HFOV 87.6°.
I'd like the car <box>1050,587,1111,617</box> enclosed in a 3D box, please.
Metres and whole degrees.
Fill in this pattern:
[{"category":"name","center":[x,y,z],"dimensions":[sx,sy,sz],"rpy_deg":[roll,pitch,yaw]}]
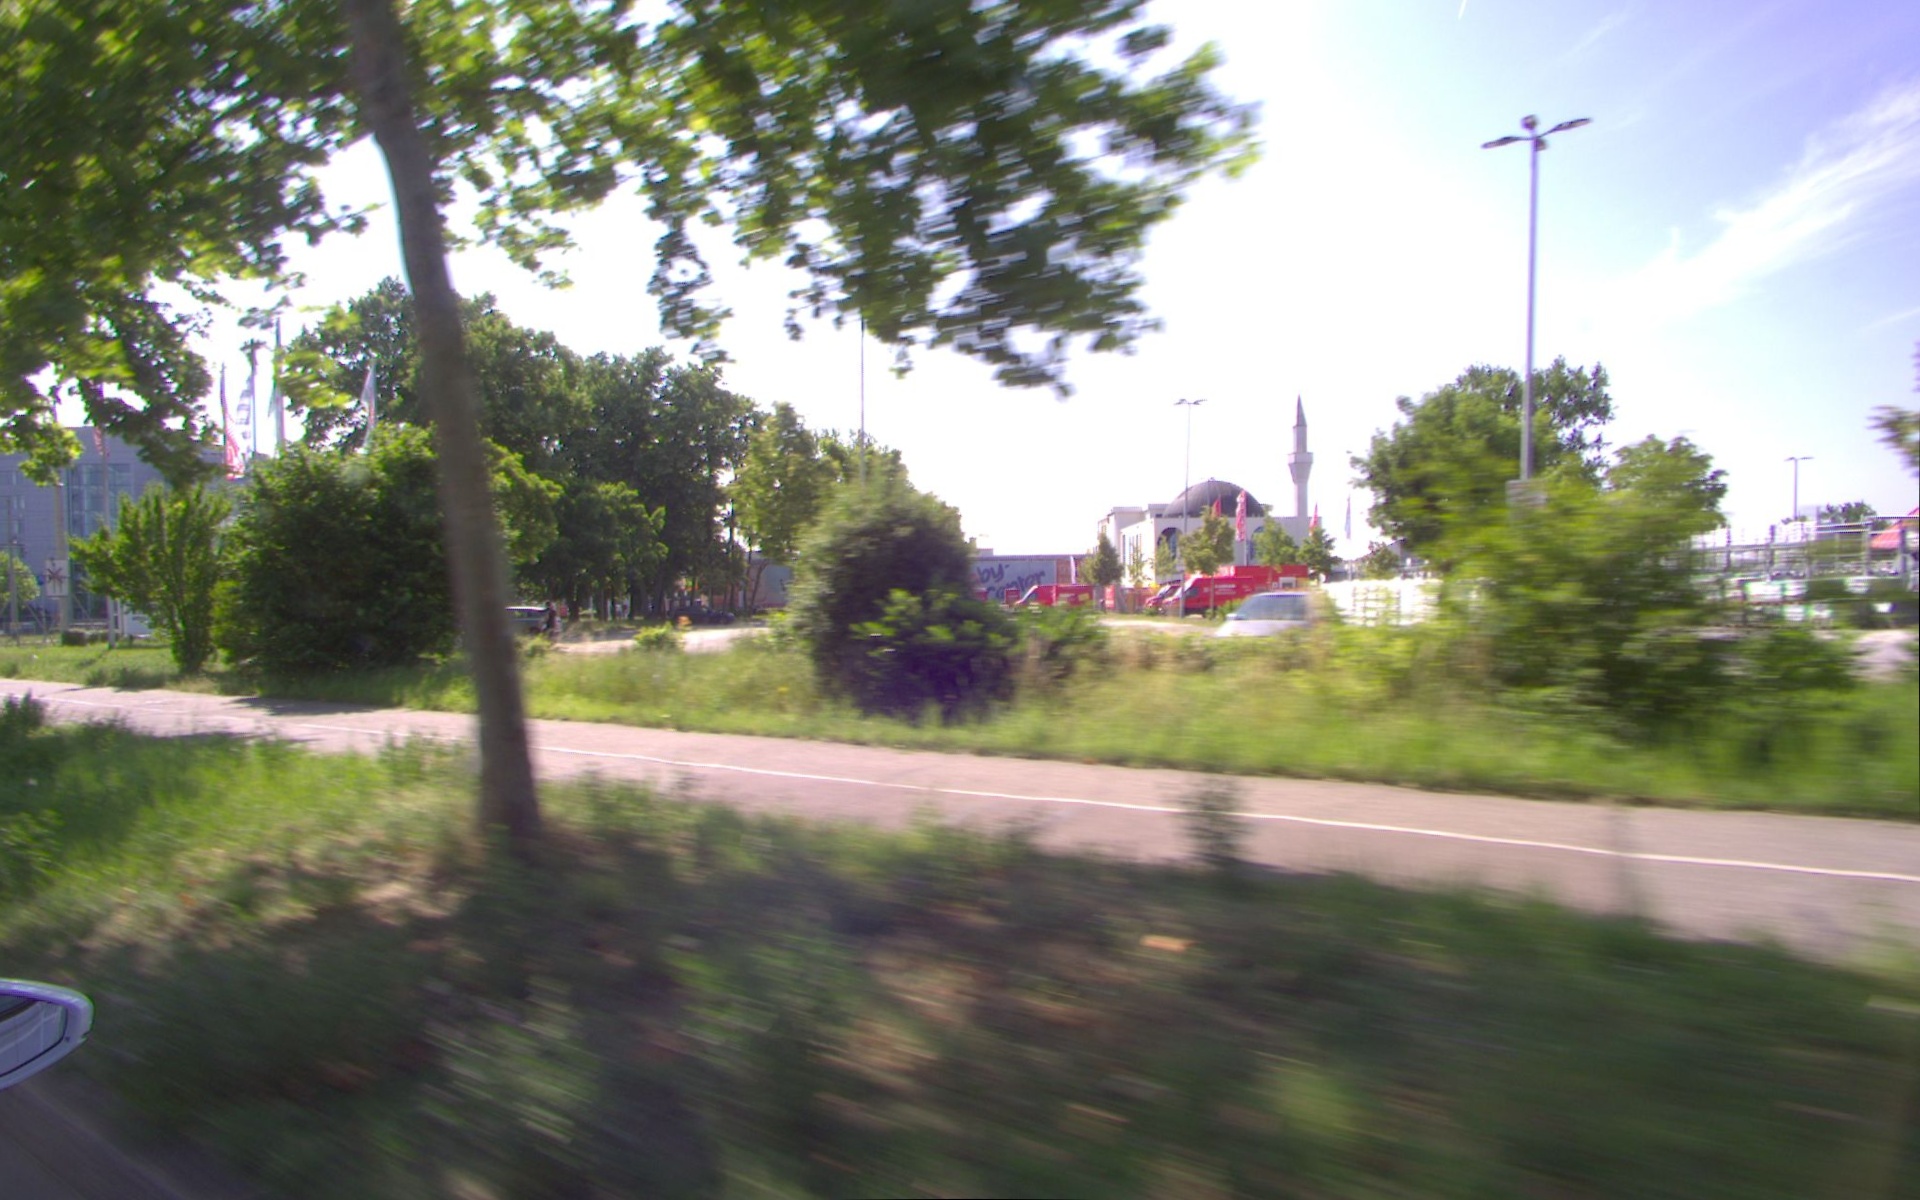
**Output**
[{"category":"car","center":[9.610,0.159,80.068],"dimensions":[4.713,2.279,2.000],"rpy_deg":[-1,0,5]}]

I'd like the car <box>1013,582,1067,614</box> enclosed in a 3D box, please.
[{"category":"car","center":[6.813,-0.132,85.663],"dimensions":[4.317,2.632,2.000],"rpy_deg":[-1,0,-5]}]

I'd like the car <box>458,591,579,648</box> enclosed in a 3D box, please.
[{"category":"car","center":[-16.283,0.707,37.102],"dimensions":[3.725,2.040,1.998],"rpy_deg":[0,0,-11]}]

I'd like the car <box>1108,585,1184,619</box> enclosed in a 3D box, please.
[{"category":"car","center":[14.297,0.170,77.145],"dimensions":[5.418,2.466,2.000],"rpy_deg":[-1,0,1]}]

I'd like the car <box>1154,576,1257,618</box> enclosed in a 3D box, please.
[{"category":"car","center":[15.623,-0.197,63.921],"dimensions":[6.059,2.598,2.000],"rpy_deg":[-1,0,-4]}]

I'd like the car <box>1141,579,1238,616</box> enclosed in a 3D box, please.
[{"category":"car","center":[15.511,-0.148,67.877],"dimensions":[6.090,2.338,1.882],"rpy_deg":[-1,0,-6]}]
